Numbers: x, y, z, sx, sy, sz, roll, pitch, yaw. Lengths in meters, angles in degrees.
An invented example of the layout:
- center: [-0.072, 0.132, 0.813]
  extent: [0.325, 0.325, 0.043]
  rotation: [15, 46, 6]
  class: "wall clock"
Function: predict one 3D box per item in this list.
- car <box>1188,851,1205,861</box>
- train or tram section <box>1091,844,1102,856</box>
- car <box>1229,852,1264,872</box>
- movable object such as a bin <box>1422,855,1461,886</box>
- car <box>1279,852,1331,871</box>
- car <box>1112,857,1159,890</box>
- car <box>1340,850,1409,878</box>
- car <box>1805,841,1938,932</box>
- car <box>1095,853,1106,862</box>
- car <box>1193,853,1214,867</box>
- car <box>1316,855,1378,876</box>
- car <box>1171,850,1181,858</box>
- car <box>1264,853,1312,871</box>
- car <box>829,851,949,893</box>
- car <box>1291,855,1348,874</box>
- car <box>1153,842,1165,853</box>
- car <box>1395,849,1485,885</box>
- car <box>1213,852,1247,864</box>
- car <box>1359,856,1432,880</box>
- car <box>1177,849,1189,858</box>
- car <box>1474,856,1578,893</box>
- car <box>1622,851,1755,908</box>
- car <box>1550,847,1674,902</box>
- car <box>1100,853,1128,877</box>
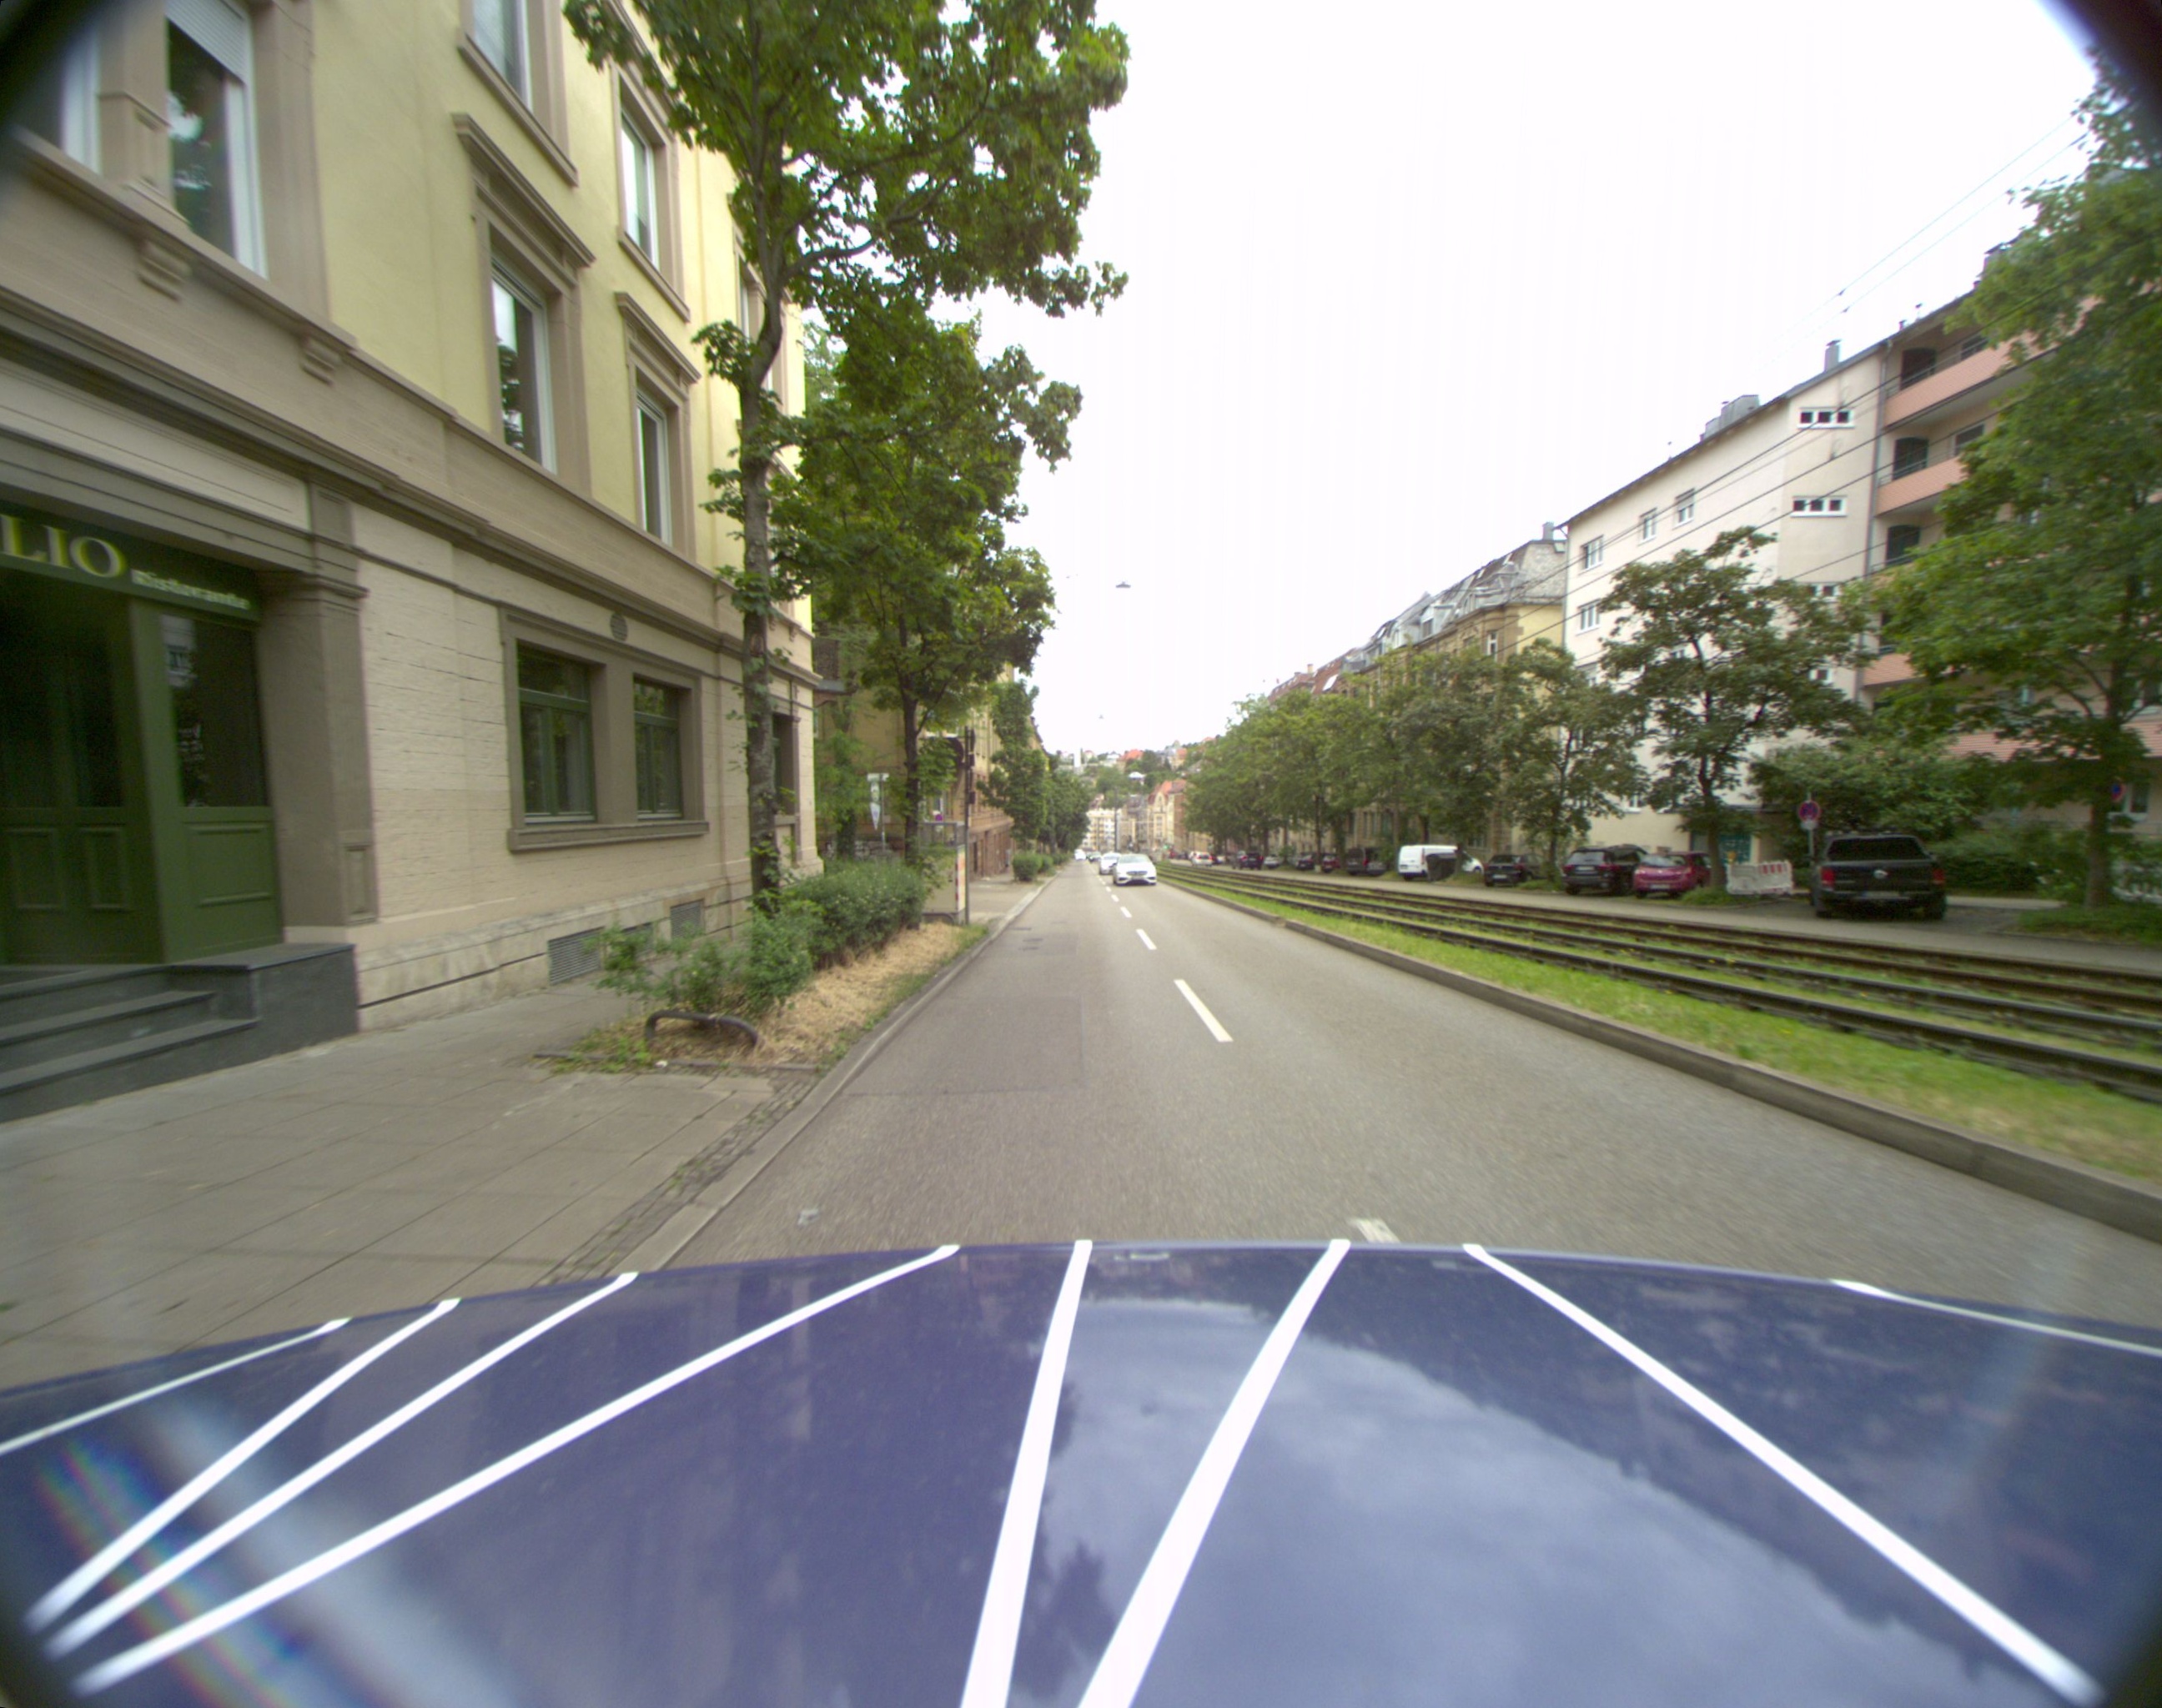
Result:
- center: [16.787, 0.328, 110.540]
  extent: [1.729, 1.402, 4.597]
  rotation: [1, 0, 0]
  class: "car"
- center: [4.965, -1.252, 249.366]
  extent: [2.968, 3.456, 14.407]
  rotation: [0, -1, -2]
  class: "train or tram section"
- center: [14.059, 0.661, 64.696]
  extent: [1.922, 1.640, 4.607]
  rotation: [1, 0, -1]
  class: "car"
- center: [17.175, 0.785, 36.193]
  extent: [1.279, 1.393, 1.095]
  rotation: [-2, 1, -15]
  class: "movable object such as a bin"
- center: [18.784, 0.606, 63.696]
  extent: [4.198, 1.564, 1.867]
  rotation: [0, 0, -31]
  class: "car"
- center: [2.467, 0.882, 35.118]
  extent: [1.806, 1.391, 4.000]
  rotation: [-1, 0, -1]
  class: "car"
- center: [18.575, 0.602, 48.095]
  extent: [4.198, 1.757, 1.867]
  rotation: [0, 0, -29]
  class: "car"
- center: [18.321, 0.657, 17.797]
  extent: [1.931, 1.787, 4.616]
  rotation: [-1, 1, 44]
  class: "car"
- center: [2.853, 0.530, 110.670]
  extent: [1.562, 1.330, 4.000]
  rotation: [0, -1, 0]
  class: "car"
- center: [12.361, 0.601, 76.784]
  extent: [1.592, 1.427, 3.412]
  rotation: [1, 0, -1]
  class: "car"
- center: [18.930, 0.760, 54.089]
  extent: [4.198, 1.427, 1.867]
  rotation: [0, 0, -29]
  class: "car"
- center: [20.498, -0.016, 164.037]
  extent: [1.884, 1.640, 4.471]
  rotation: [1, 0, 3]
  class: "car"
- center: [18.482, 0.688, 67.942]
  extent: [4.161, 1.461, 1.781]
  rotation: [-2, 2, -32]
  class: "car"
- center: [-7.286, 0.663, 29.090]
  extent: [4.097, 1.371, 1.811]
  rotation: [2, 0, -1]
  class: "car"
- center: [18.740, 0.777, 59.667]
  extent: [4.198, 1.427, 1.867]
  rotation: [0, 0, -30]
  class: "car"
- center: [19.518, -1.634, 190.336]
  extent: [2.398, 2.684, 6.518]
  rotation: [1, 0, 0]
  class: "car"
- center: [18.616, 0.642, 39.438]
  extent: [4.196, 1.826, 1.868]
  rotation: [0, 0, -22]
  class: "car"
- center: [18.678, 0.511, 95.171]
  extent: [4.007, 1.414, 1.781]
  rotation: [-1, 0, -31]
  class: "car"
- center: [18.755, 0.807, 45.285]
  extent: [4.198, 1.331, 1.867]
  rotation: [0, 0, -29]
  class: "car"
- center: [19.045, -0.143, 141.929]
  extent: [1.785, 1.647, 4.243]
  rotation: [1, 0, 0]
  class: "car"
- center: [18.940, 0.820, 32.298]
  extent: [4.615, 1.337, 1.931]
  rotation: [-2, 1, -33]
  class: "car"
- center: [19.426, 0.749, 24.245]
  extent: [4.615, 1.539, 1.931]
  rotation: [-2, 1, -33]
  class: "car"
- center: [18.581, 0.661, 26.549]
  extent: [4.615, 1.672, 1.931]
  rotation: [-2, 1, -33]
  class: "car"
- center: [2.293, 0.764, 53.440]
  extent: [1.806, 1.541, 4.000]
  rotation: [-1, 0, 0]
  class: "car"
